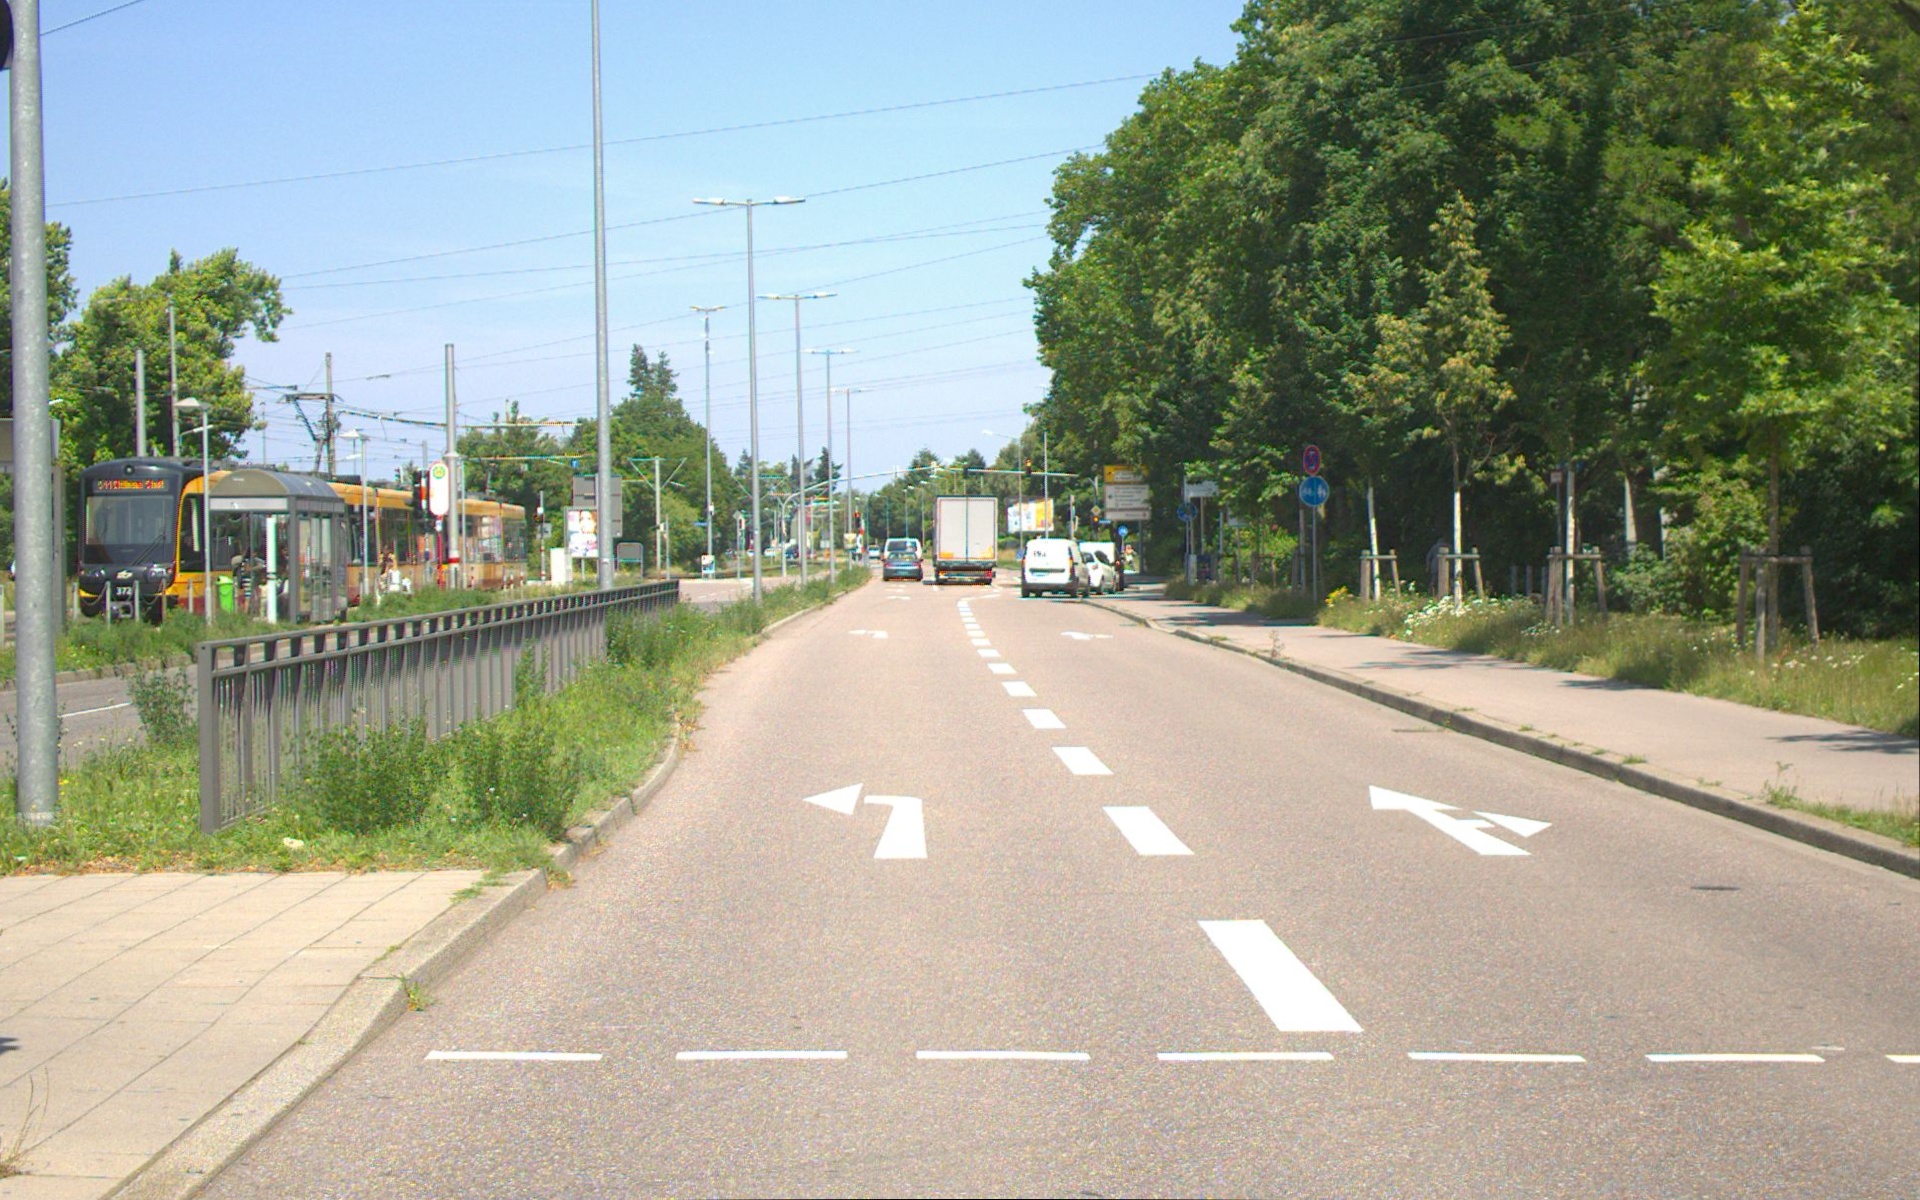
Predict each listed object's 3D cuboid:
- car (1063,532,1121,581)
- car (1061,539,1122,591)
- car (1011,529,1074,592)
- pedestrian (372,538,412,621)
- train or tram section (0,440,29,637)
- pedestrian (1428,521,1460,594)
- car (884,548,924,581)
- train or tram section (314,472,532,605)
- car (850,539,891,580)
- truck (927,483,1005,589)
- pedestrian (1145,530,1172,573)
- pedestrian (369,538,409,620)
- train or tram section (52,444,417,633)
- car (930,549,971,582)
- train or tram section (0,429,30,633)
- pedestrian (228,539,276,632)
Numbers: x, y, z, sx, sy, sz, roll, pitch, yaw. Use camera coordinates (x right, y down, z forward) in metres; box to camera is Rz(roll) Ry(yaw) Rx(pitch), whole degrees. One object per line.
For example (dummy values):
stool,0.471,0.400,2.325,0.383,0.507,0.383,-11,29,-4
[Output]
car,4.543,-1.513,118.791,1.779,1.663,4.000,0,1,-1
car,4.293,-1.149,112.448,1.779,1.663,4.000,0,1,-1
car,2.504,-1.221,105.518,1.779,1.897,4.000,0,1,-1
pedestrian,-13.822,-0.507,83.658,0.815,2.007,0.938,0,1,-1
train or tram section,-23.891,-1.326,76.435,3.215,3.918,18.504,-1,1,-24
pedestrian,9.600,-0.845,68.166,0.604,1.433,0.556,0,1,6
car,-2.560,-1.649,157.888,1.811,1.459,4.000,0,1,-1
train or tram section,-17.412,-2.043,114.777,2.931,3.776,33.090,0,1,-2
car,-4.556,-2.072,175.169,1.993,2.007,4.000,0,1,-1
truck,0.209,-2.717,146.055,3.205,4.344,6.561,0,1,-1
pedestrian,9.444,-2.303,163.256,1.185,2.007,1.214,0,1,0
pedestrian,-14.100,-0.524,84.951,0.815,2.007,0.938,0,1,-1
train or tram section,-16.761,-1.488,83.223,2.957,3.736,30.035,0,1,-1
car,-0.436,-1.555,153.620,1.811,1.459,4.000,0,1,-1
train or tram section,-19.843,-1.201,59.232,3.215,3.918,18.502,0,1,-2
pedestrian,-14.263,-0.301,69.306,0.785,1.862,0.817,0,1,-1
